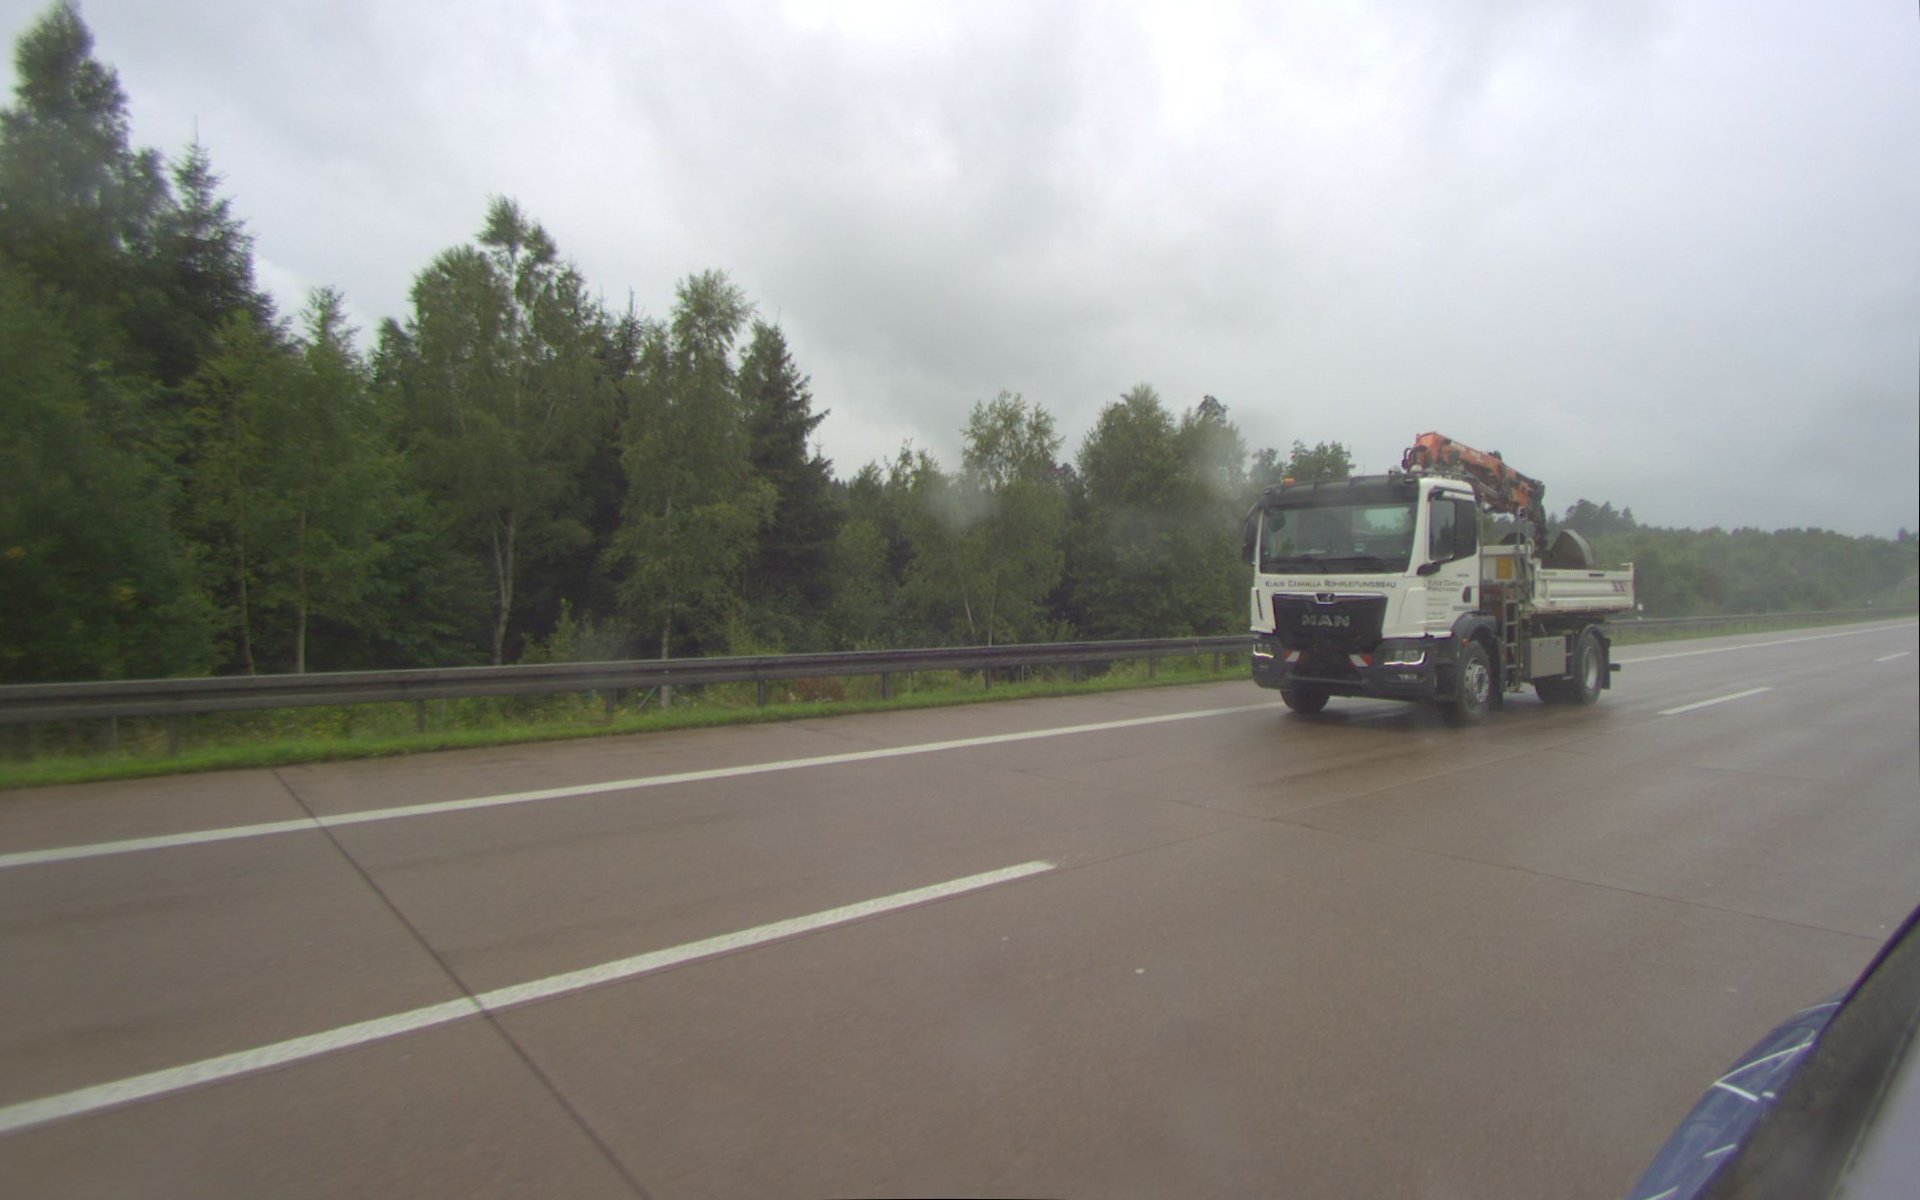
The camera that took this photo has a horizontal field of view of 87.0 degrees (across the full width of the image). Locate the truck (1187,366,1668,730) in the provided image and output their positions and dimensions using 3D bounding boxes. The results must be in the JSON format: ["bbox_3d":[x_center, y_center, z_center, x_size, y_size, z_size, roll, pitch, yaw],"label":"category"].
[{"bbox_3d":[6.908,-0.568,14.296,7.815,3.777,3.240,0,0,-41],"label":"truck"}]
